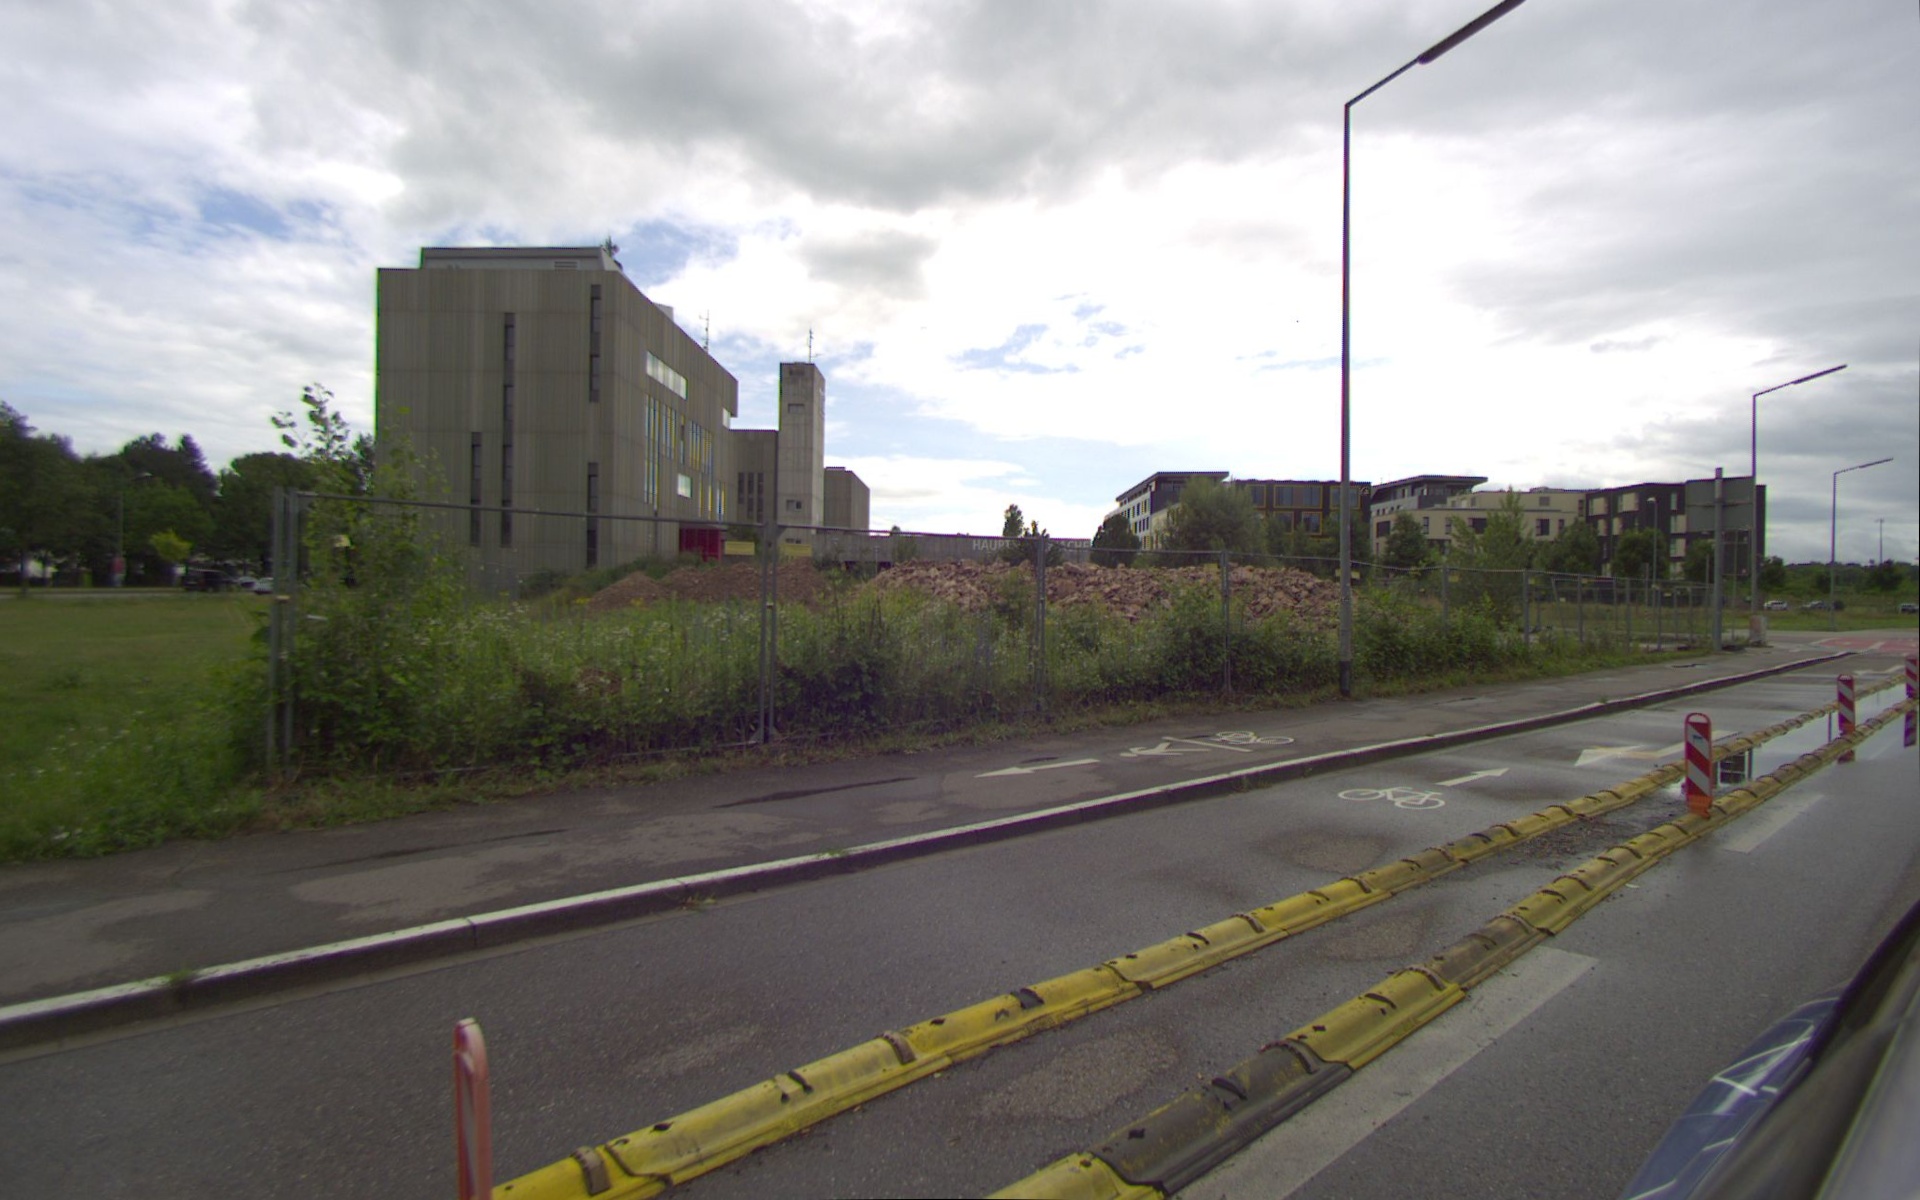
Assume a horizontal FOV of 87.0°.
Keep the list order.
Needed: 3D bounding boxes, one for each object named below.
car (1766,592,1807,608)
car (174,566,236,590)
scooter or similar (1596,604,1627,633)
[{"bbox_3d":[114.299,0.003,139.987,3.924,2.039,2.000,1,1,0],"label":"car"},{"bbox_3d":[-58.002,-1.677,77.819,1.826,1.804,4.002,1,1,-2],"label":"car"},{"bbox_3d":[27.703,0.773,43.047,0.437,1.200,1.327,1,0,-1],"label":"scooter or similar"}]
